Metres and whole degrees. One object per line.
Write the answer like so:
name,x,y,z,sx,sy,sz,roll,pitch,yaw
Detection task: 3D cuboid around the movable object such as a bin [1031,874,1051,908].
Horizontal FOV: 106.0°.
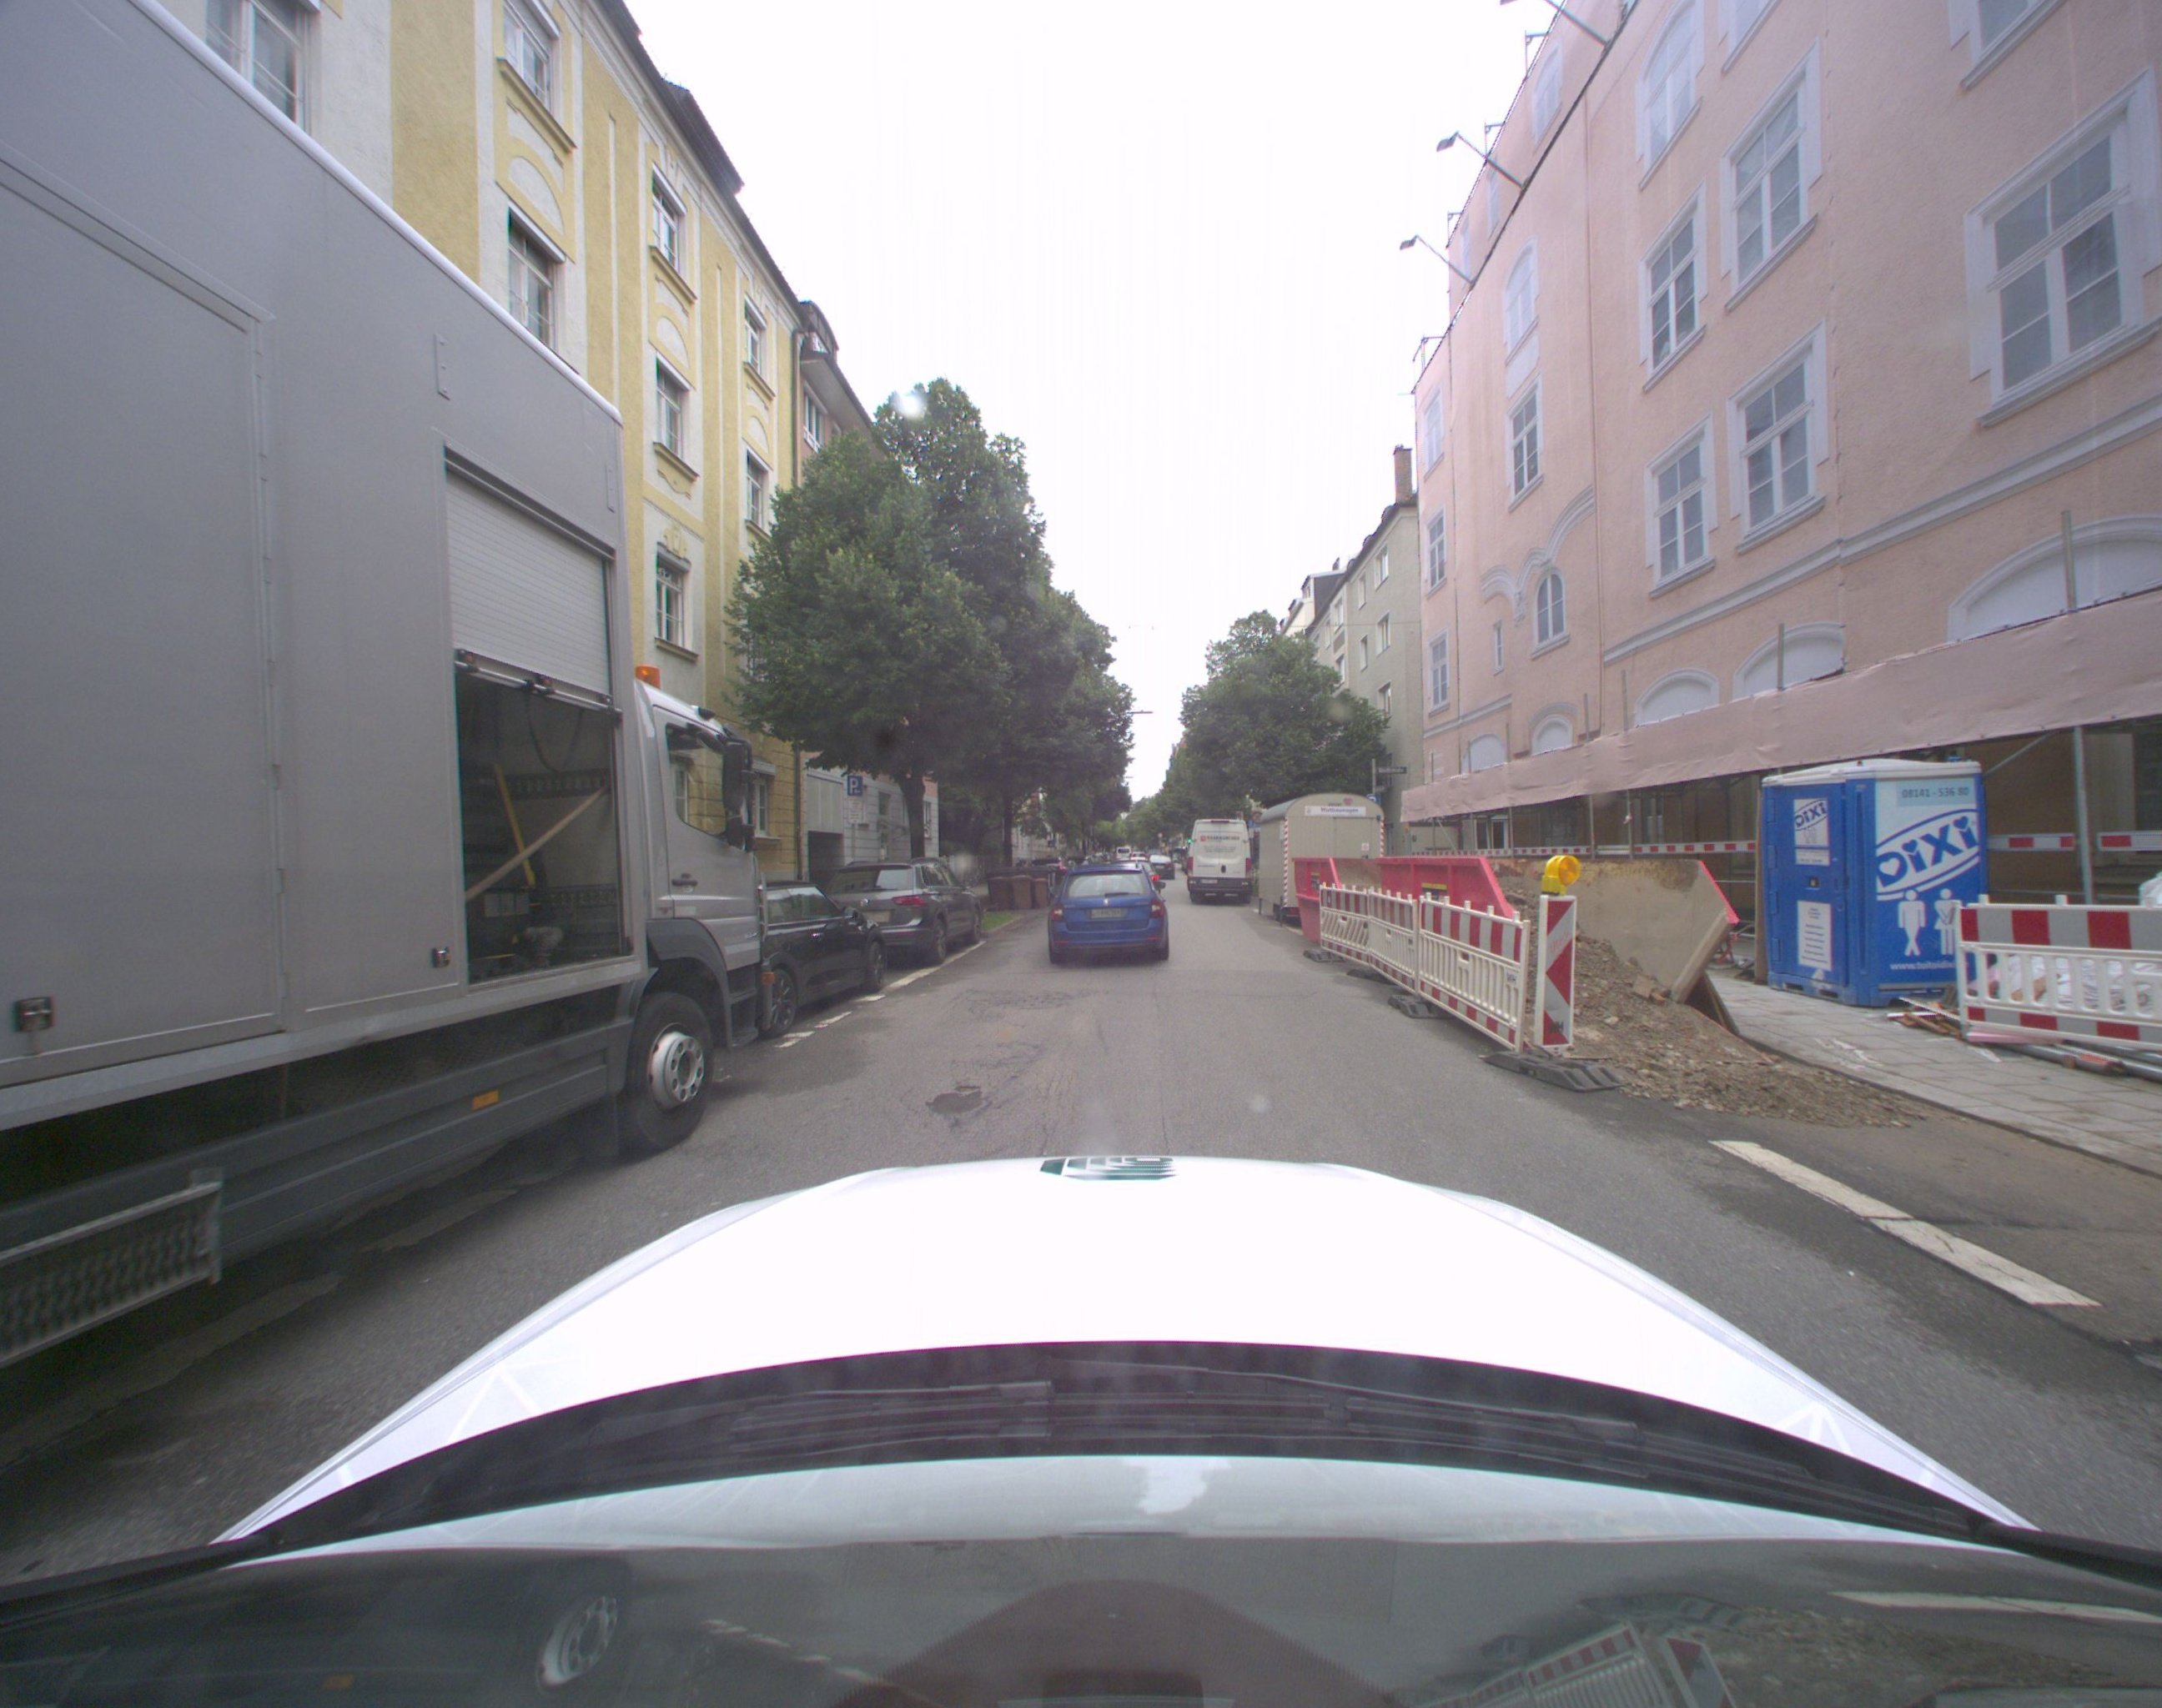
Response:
movable object such as a bin,-1.272,1.186,26.031,0.544,1.020,0.636,-3,0,1

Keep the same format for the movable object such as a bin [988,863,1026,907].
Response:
movable object such as a bin,-2.416,1.006,26.871,1.078,1.376,1.083,-3,0,0

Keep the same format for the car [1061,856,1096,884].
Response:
car,-0.105,0.865,45.425,1.805,1.478,4.002,0,0,2

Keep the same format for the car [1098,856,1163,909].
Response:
car,1.545,0.803,24.287,1.733,1.422,3.669,-2,-1,5

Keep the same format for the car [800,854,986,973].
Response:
car,-2.918,0.852,13.637,1.776,1.628,4.191,-2,0,5

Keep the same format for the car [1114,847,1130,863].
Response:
car,4.985,0.061,98.155,1.859,1.870,4.352,0,0,4

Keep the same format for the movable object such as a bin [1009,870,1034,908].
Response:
movable object such as a bin,-1.894,1.118,26.006,0.709,1.148,0.636,-3,0,0

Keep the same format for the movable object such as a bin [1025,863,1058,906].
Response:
movable object such as a bin,-1.351,1.041,27.994,1.017,1.376,1.103,-3,0,0

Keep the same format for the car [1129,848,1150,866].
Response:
car,5.428,0.268,76.127,1.860,1.696,4.350,0,0,2

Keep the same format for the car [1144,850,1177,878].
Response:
car,4.924,0.594,50.803,1.859,1.696,4.351,0,0,4

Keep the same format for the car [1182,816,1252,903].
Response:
car,4.660,0.199,27.756,2.100,2.664,5.515,0,-1,10

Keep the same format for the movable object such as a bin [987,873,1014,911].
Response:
movable object such as a bin,-2.558,1.209,25.988,0.718,1.138,0.658,-3,0,0

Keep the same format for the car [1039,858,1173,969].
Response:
car,0.499,0.823,13.115,1.781,1.460,4.319,-1,-1,4

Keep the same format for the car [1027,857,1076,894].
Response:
car,-1.194,0.859,34.727,1.805,1.478,4.002,0,0,2

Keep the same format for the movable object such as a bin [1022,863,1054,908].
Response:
movable object such as a bin,-1.419,1.023,26.898,0.915,1.376,1.079,-3,0,0

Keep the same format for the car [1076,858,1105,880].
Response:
car,0.733,1.009,57.450,1.804,1.478,4.005,0,0,4

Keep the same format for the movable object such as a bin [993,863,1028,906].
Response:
movable object such as a bin,-2.407,1.036,27.973,1.054,1.376,1.095,-3,0,0

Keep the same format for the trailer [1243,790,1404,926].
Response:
trailer,5.775,0.116,20.578,2.491,2.840,6.908,0,-1,4

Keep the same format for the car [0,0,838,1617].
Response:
car,-3.598,-0.338,1.988,2.800,3.817,8.732,-1,-1,4

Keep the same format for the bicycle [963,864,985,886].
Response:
bicycle,-5.682,1.109,43.389,0.631,1.067,2.391,-2,0,5

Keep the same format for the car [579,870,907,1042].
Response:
car,-3.312,0.917,8.838,1.690,1.409,3.714,-2,-1,6
